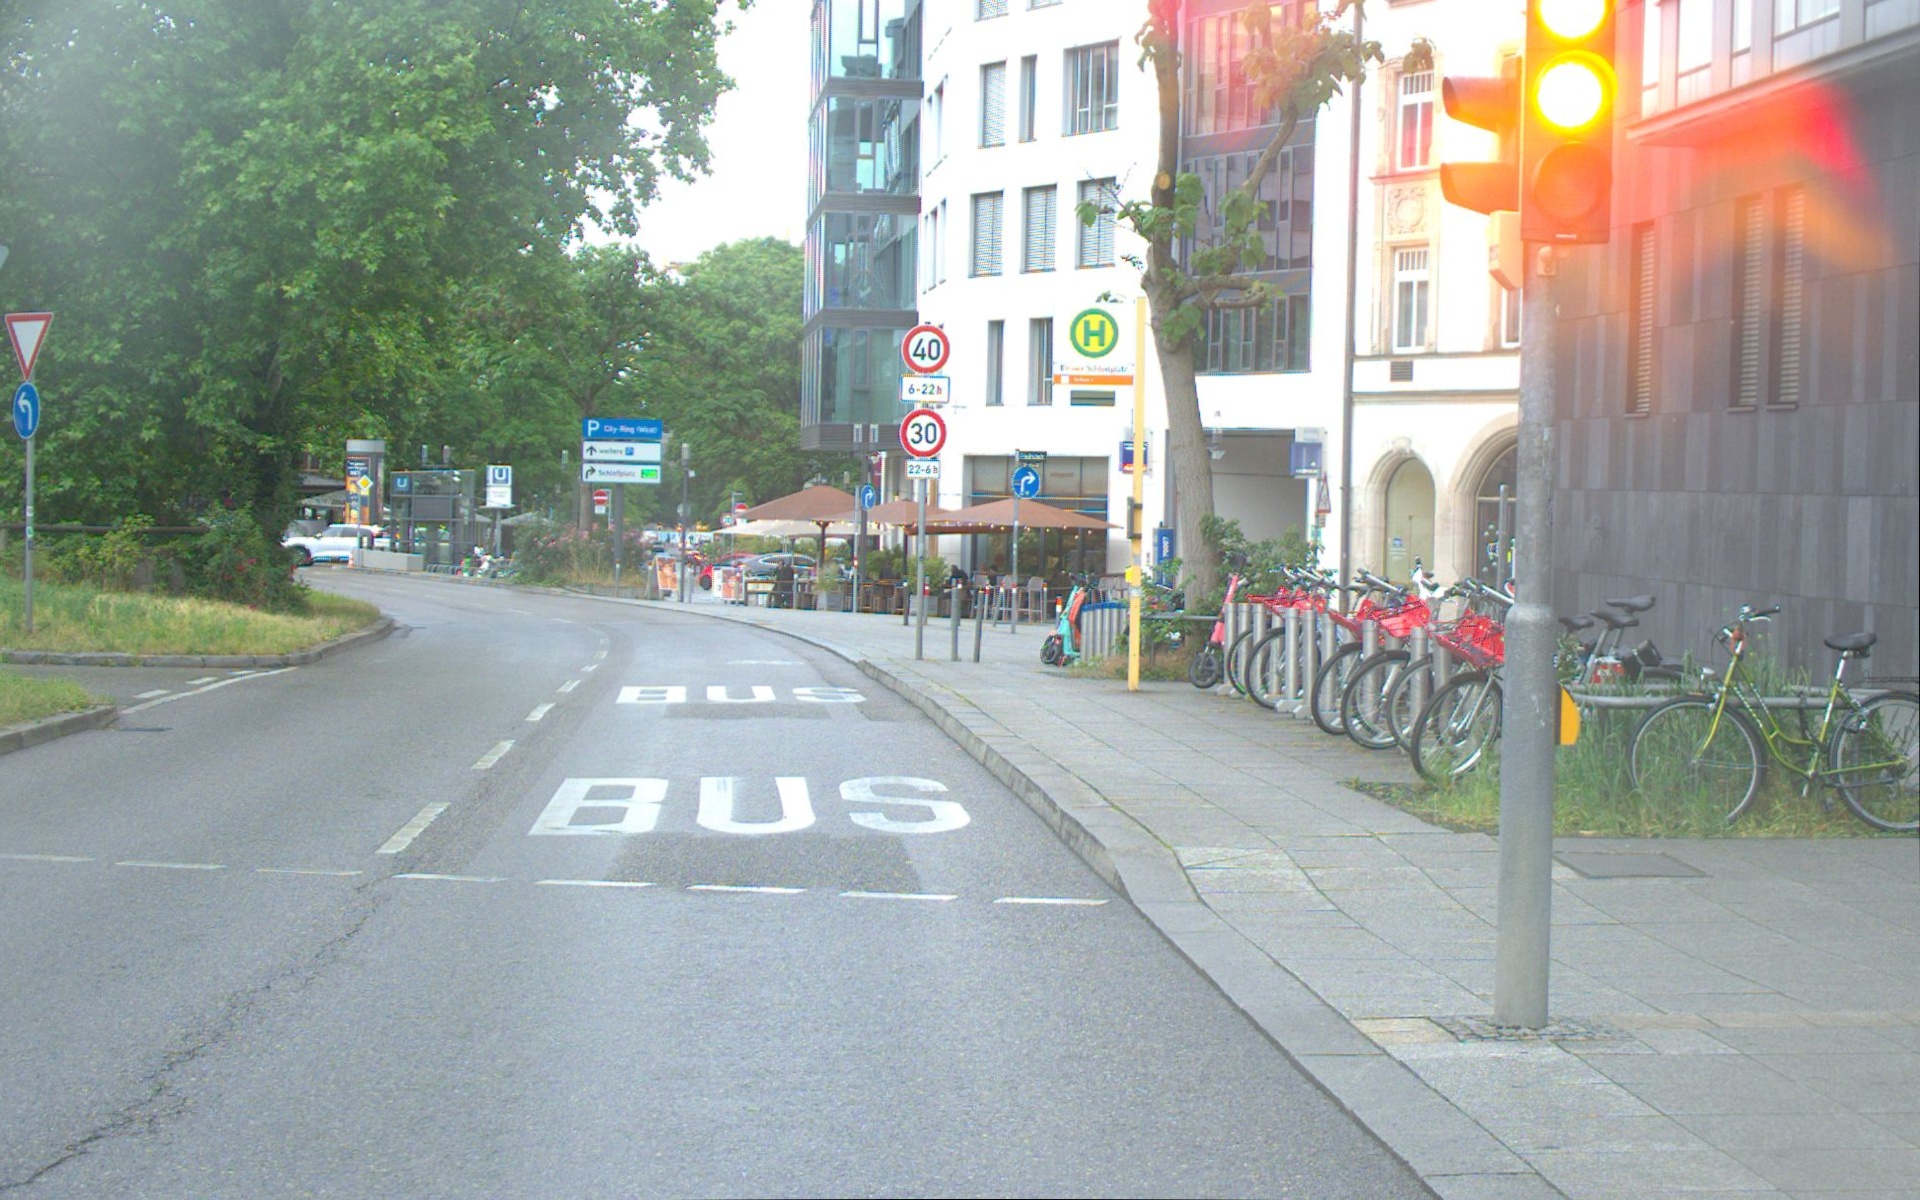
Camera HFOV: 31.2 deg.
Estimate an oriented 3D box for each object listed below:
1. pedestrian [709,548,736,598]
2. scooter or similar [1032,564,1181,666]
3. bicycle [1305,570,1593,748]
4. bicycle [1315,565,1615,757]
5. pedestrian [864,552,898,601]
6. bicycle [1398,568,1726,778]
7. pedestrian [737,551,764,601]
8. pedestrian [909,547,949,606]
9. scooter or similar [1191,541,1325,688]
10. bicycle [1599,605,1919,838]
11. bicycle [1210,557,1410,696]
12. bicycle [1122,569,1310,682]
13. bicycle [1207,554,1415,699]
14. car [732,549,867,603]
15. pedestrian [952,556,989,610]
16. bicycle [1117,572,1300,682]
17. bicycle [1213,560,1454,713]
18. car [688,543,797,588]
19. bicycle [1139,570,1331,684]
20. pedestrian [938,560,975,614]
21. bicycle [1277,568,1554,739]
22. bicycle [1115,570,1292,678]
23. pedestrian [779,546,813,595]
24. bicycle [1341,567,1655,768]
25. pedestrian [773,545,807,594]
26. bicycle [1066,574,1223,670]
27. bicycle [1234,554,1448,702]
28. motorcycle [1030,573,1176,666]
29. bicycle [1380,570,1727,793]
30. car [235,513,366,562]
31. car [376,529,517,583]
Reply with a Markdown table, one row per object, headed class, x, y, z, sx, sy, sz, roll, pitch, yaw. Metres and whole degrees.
| class | x | y | z | sx | sy | sz | roll | pitch | yaw |
| --- | --- | --- | --- | --- | --- | --- | --- | --- | --- |
| pedestrian | -6.482 | -0.727 | 93.773 | 0.606 | 1.322 | 0.568 | 4 | 0 | -8 |
| scooter or similar | 1.903 | 0.197 | 44.705 | 1.791 | 1.239 | 0.596 | 3 | 0 | -9 |
| bicycle | 3.204 | 0.383 | 22.587 | 1.729 | 1.136 | 0.689 | 0 | 1 | -10 |
| bicycle | 3.183 | 0.379 | 21.729 | 1.729 | 1.179 | 0.689 | 0 | 1 | -10 |
| pedestrian | -2.215 | -0.655 | 96.243 | 0.817 | 1.322 | 0.636 | 4 | 0 | -8 |
| bicycle | 3.484 | 0.416 | 19.955 | 1.729 | 1.179 | 0.689 | 0 | 1 | -10 |
| pedestrian | -5.723 | -0.667 | 93.917 | 0.606 | 1.322 | 0.568 | 4 | 0 | -8 |
| pedestrian | -0.739 | -0.551 | 80.878 | 0.773 | 1.322 | 0.636 | 4 | 0 | -9 |
| scooter or similar | 2.607 | 0.128 | 30.107 | 1.105 | 1.253 | 0.302 | 1 | 0 | -11 |
| bicycle | 4.016 | 0.570 | 16.475 | 1.729 | 1.066 | 0.689 | 0 | 1 | -10 |
| bicycle | 2.944 | 0.223 | 28.968 | 1.534 | 1.136 | 0.663 | 1 | 0 | -10 |
| bicycle | 2.617 | 0.263 | 35.204 | 1.794 | 1.064 | 0.556 | 3 | 0 | -9 |
| bicycle | 2.864 | 0.215 | 28.116 | 1.534 | 1.136 | 0.689 | 1 | 0 | -10 |
| car | -5.817 | -0.878 | 124.427 | 4.734 | 1.685 | 2.005 | 2 | 1 | -5 |
| pedestrian | 0.256 | -0.428 | 86.169 | 0.626 | 1.322 | 0.636 | 4 | 0 | -29 |
| bicycle | 2.603 | 0.282 | 36.043 | 1.794 | 1.064 | 0.556 | 3 | 0 | -9 |
| bicycle | 2.878 | 0.279 | 26.530 | 1.705 | 1.136 | 0.689 | 1 | 0 | -10 |
| car | -8.342 | -1.323 | 131.806 | 3.997 | 1.505 | 1.796 | 4 | 2 | 41 |
| bicycle | 2.754 | 0.270 | 34.491 | 1.794 | 1.064 | 0.556 | 3 | 0 | -9 |
| pedestrian | -0.084 | -0.329 | 87.435 | 0.626 | 1.322 | 0.636 | 4 | 0 | -29 |
| bicycle | 3.091 | 0.359 | 23.400 | 1.729 | 1.136 | 0.689 | 0 | 1 | -10 |
| bicycle | 2.684 | 0.265 | 37.988 | 1.794 | 1.104 | 0.670 | 3 | 0 | -10 |
| pedestrian | -4.570 | -0.822 | 95.909 | 0.817 | 1.322 | 0.636 | 4 | 0 | -8 |
| bicycle | 3.246 | 0.399 | 20.795 | 1.729 | 1.179 | 0.689 | 0 | 1 | -10 |
| pedestrian | -4.782 | -0.849 | 96.863 | 0.817 | 1.322 | 0.636 | 4 | 0 | -8 |
| bicycle | 2.280 | 0.272 | 42.639 | 1.794 | 1.104 | 0.670 | 3 | 0 | -10 |
| bicycle | 3.024 | 0.223 | 27.350 | 1.534 | 1.136 | 0.689 | 1 | 0 | -10 |
| motorcycle | 1.891 | 0.260 | 45.490 | 1.791 | 1.136 | 0.596 | 3 | 0 | -9 |
| bicycle | 3.238 | 0.436 | 18.814 | 1.729 | 1.179 | 0.689 | 0 | 1 | -10 |
| car | -24.473 | -2.327 | 127.548 | 4.332 | 1.660 | 1.952 | 2 | 0 | 8 |
| car | -18.142 | -1.575 | 121.678 | 4.734 | 1.685 | 2.005 | 2 | 1 | -5 |
